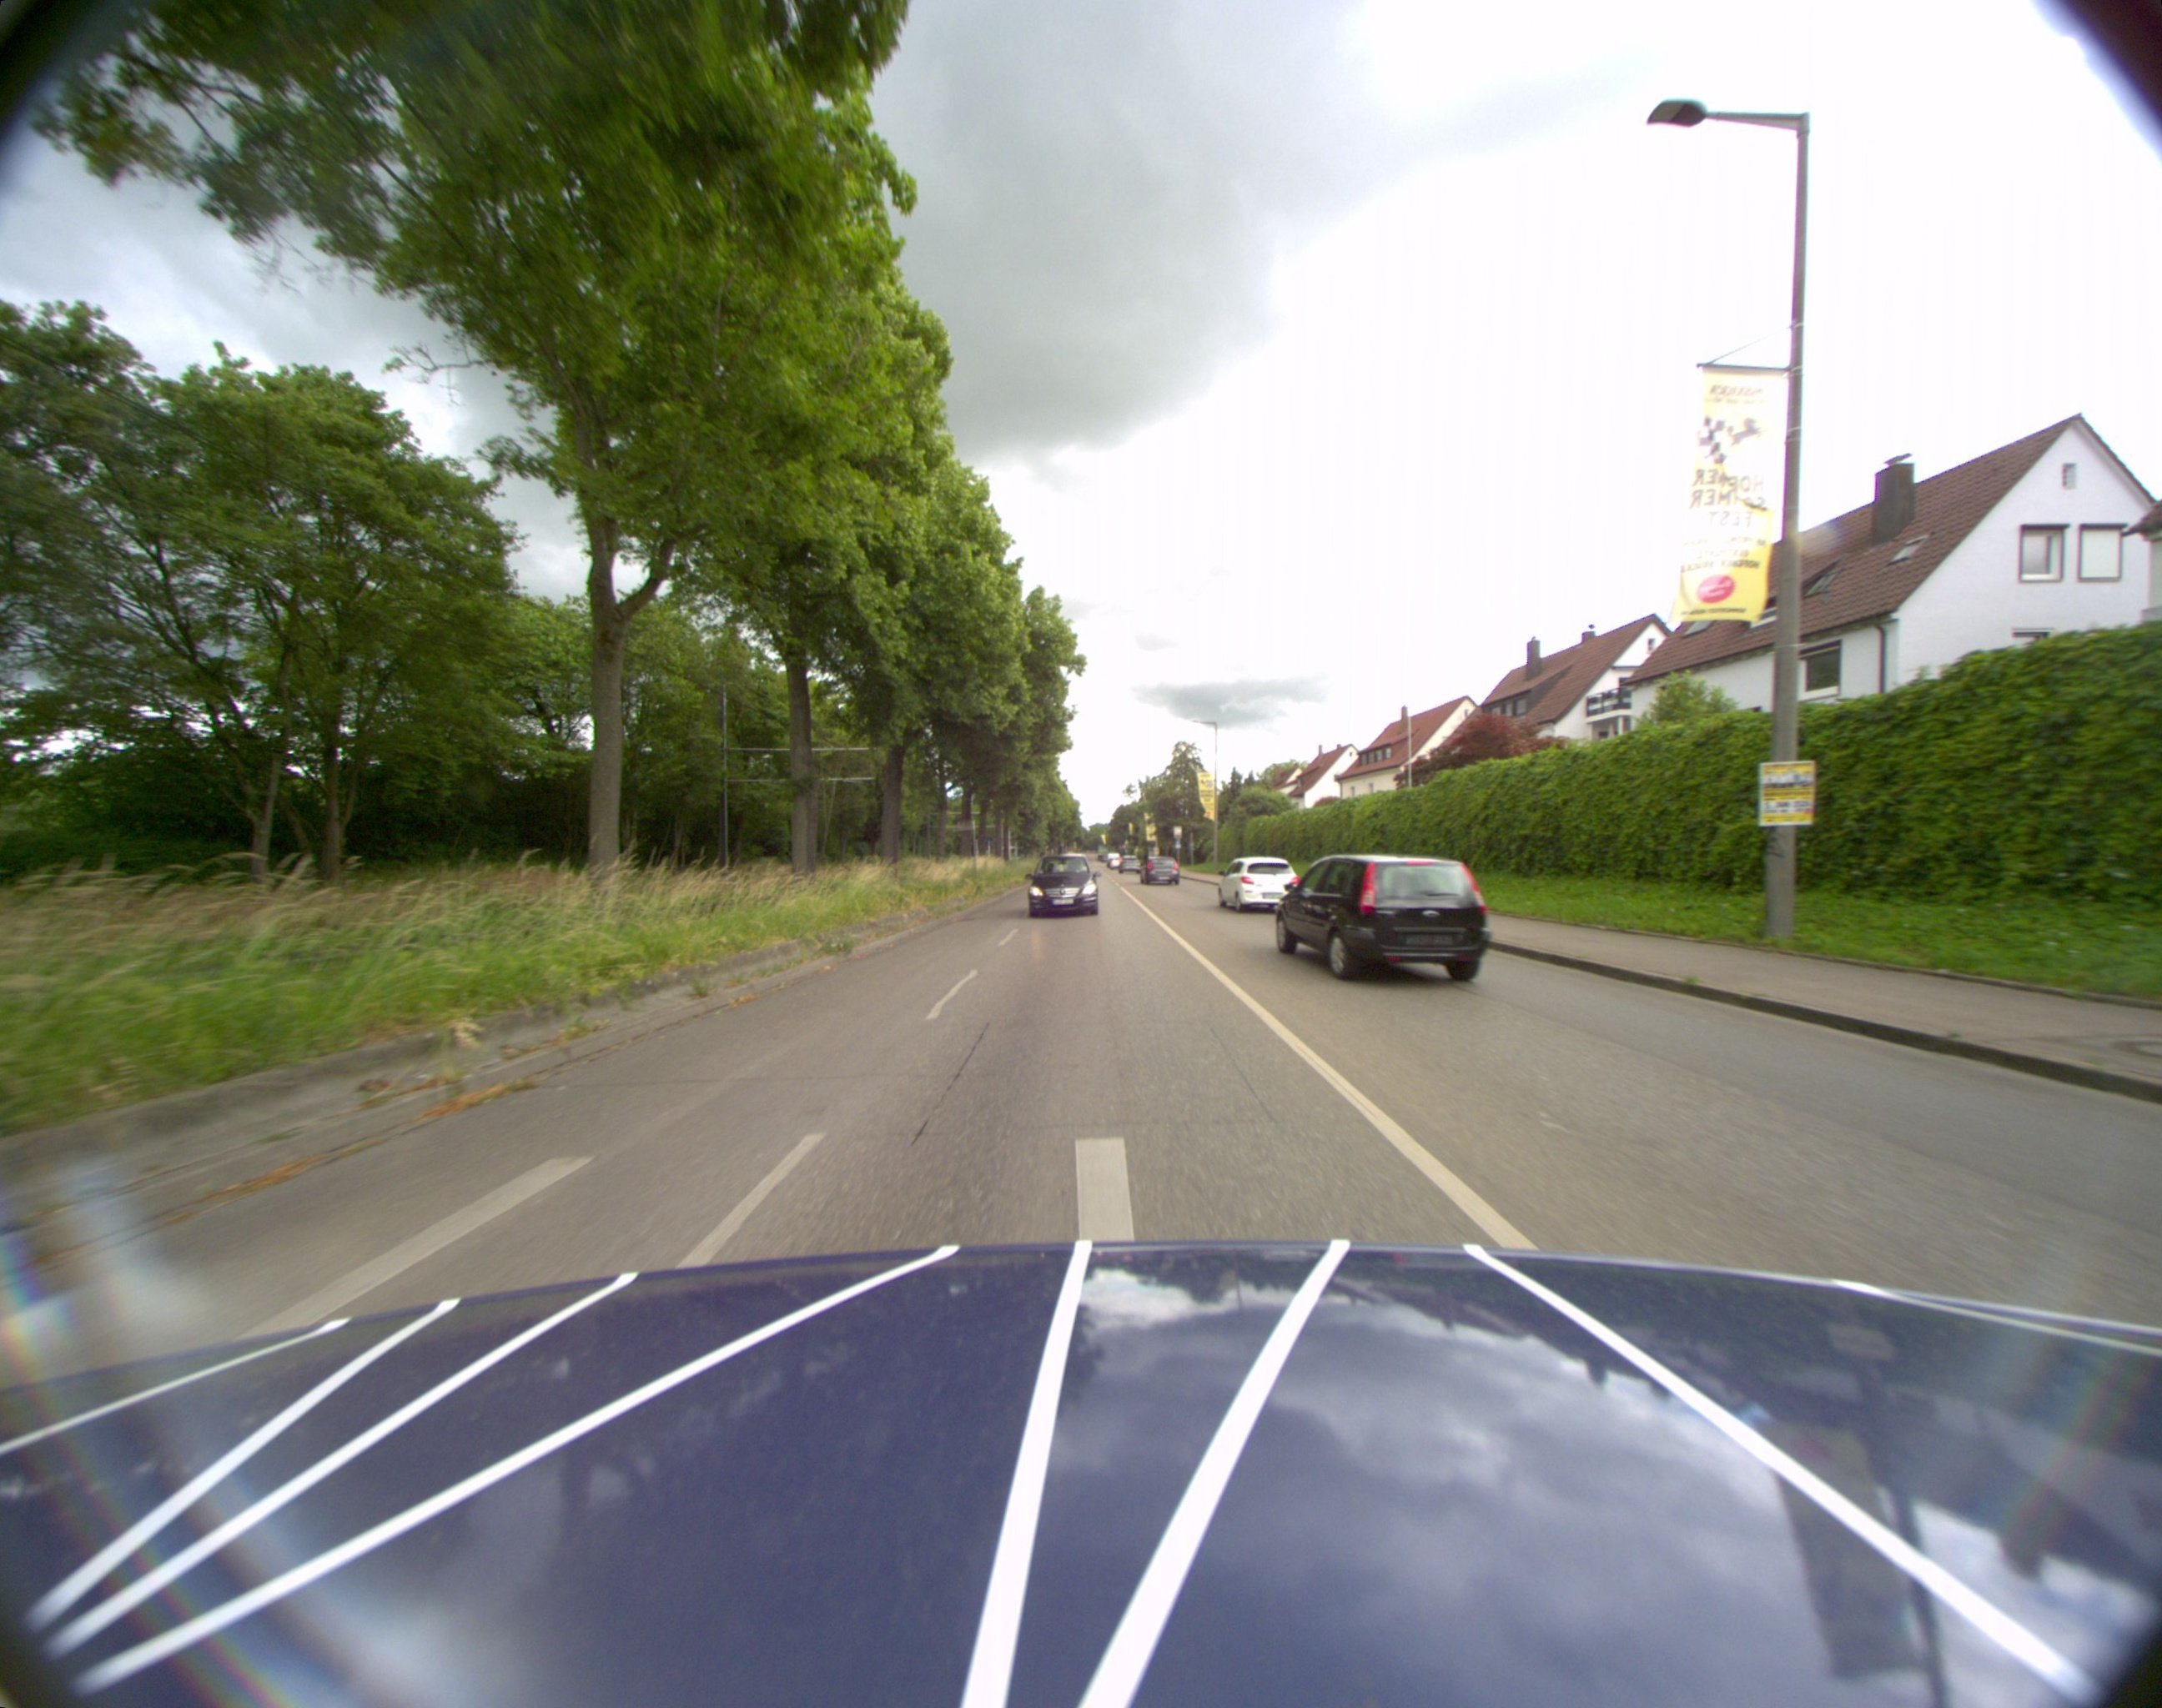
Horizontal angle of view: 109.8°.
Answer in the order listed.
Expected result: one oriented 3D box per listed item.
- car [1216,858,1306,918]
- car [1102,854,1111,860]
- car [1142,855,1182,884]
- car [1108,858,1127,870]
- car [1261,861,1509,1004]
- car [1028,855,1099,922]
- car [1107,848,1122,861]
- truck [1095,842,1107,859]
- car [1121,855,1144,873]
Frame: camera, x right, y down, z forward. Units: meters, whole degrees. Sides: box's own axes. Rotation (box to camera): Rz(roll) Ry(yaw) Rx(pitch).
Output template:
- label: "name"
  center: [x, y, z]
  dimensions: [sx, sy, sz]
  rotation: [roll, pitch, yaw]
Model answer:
- label: "car"
  center: [4.958, 0.876, 21.408]
  dimensions: [1.622, 1.453, 4.072]
  rotation: [1, 0, 1]
- label: "car"
  center: [5.579, 0.609, 165.395]
  dimensions: [1.737, 1.367, 4.239]
  rotation: [0, 0, 0]
- label: "car"
  center: [4.336, 0.801, 41.118]
  dimensions: [1.732, 1.455, 4.153]
  rotation: [0, 0, 0]
- label: "car"
  center: [4.161, 1.124, 87.396]
  dimensions: [1.891, 1.375, 4.490]
  rotation: [0, 0, -1]
- label: "car"
  center: [3.770, 0.869, 10.259]
  dimensions: [1.647, 1.472, 4.106]
  rotation: [1, 0, -1]
- label: "car"
  center: [-0.432, 0.847, 20.872]
  dimensions: [1.683, 1.565, 4.482]
  rotation: [-2, 0, 0]
- label: "car"
  center: [5.057, 0.109, 114.863]
  dimensions: [1.911, 1.921, 4.910]
  rotation: [1, 0, 0]
- label: "truck"
  center: [5.094, -0.958, 192.045]
  dimensions: [2.556, 4.020, 10.618]
  rotation: [1, 1, 0]
- label: "car"
  center: [4.493, 0.851, 66.926]
  dimensions: [1.756, 1.510, 3.999]
  rotation: [0, 1, 0]
